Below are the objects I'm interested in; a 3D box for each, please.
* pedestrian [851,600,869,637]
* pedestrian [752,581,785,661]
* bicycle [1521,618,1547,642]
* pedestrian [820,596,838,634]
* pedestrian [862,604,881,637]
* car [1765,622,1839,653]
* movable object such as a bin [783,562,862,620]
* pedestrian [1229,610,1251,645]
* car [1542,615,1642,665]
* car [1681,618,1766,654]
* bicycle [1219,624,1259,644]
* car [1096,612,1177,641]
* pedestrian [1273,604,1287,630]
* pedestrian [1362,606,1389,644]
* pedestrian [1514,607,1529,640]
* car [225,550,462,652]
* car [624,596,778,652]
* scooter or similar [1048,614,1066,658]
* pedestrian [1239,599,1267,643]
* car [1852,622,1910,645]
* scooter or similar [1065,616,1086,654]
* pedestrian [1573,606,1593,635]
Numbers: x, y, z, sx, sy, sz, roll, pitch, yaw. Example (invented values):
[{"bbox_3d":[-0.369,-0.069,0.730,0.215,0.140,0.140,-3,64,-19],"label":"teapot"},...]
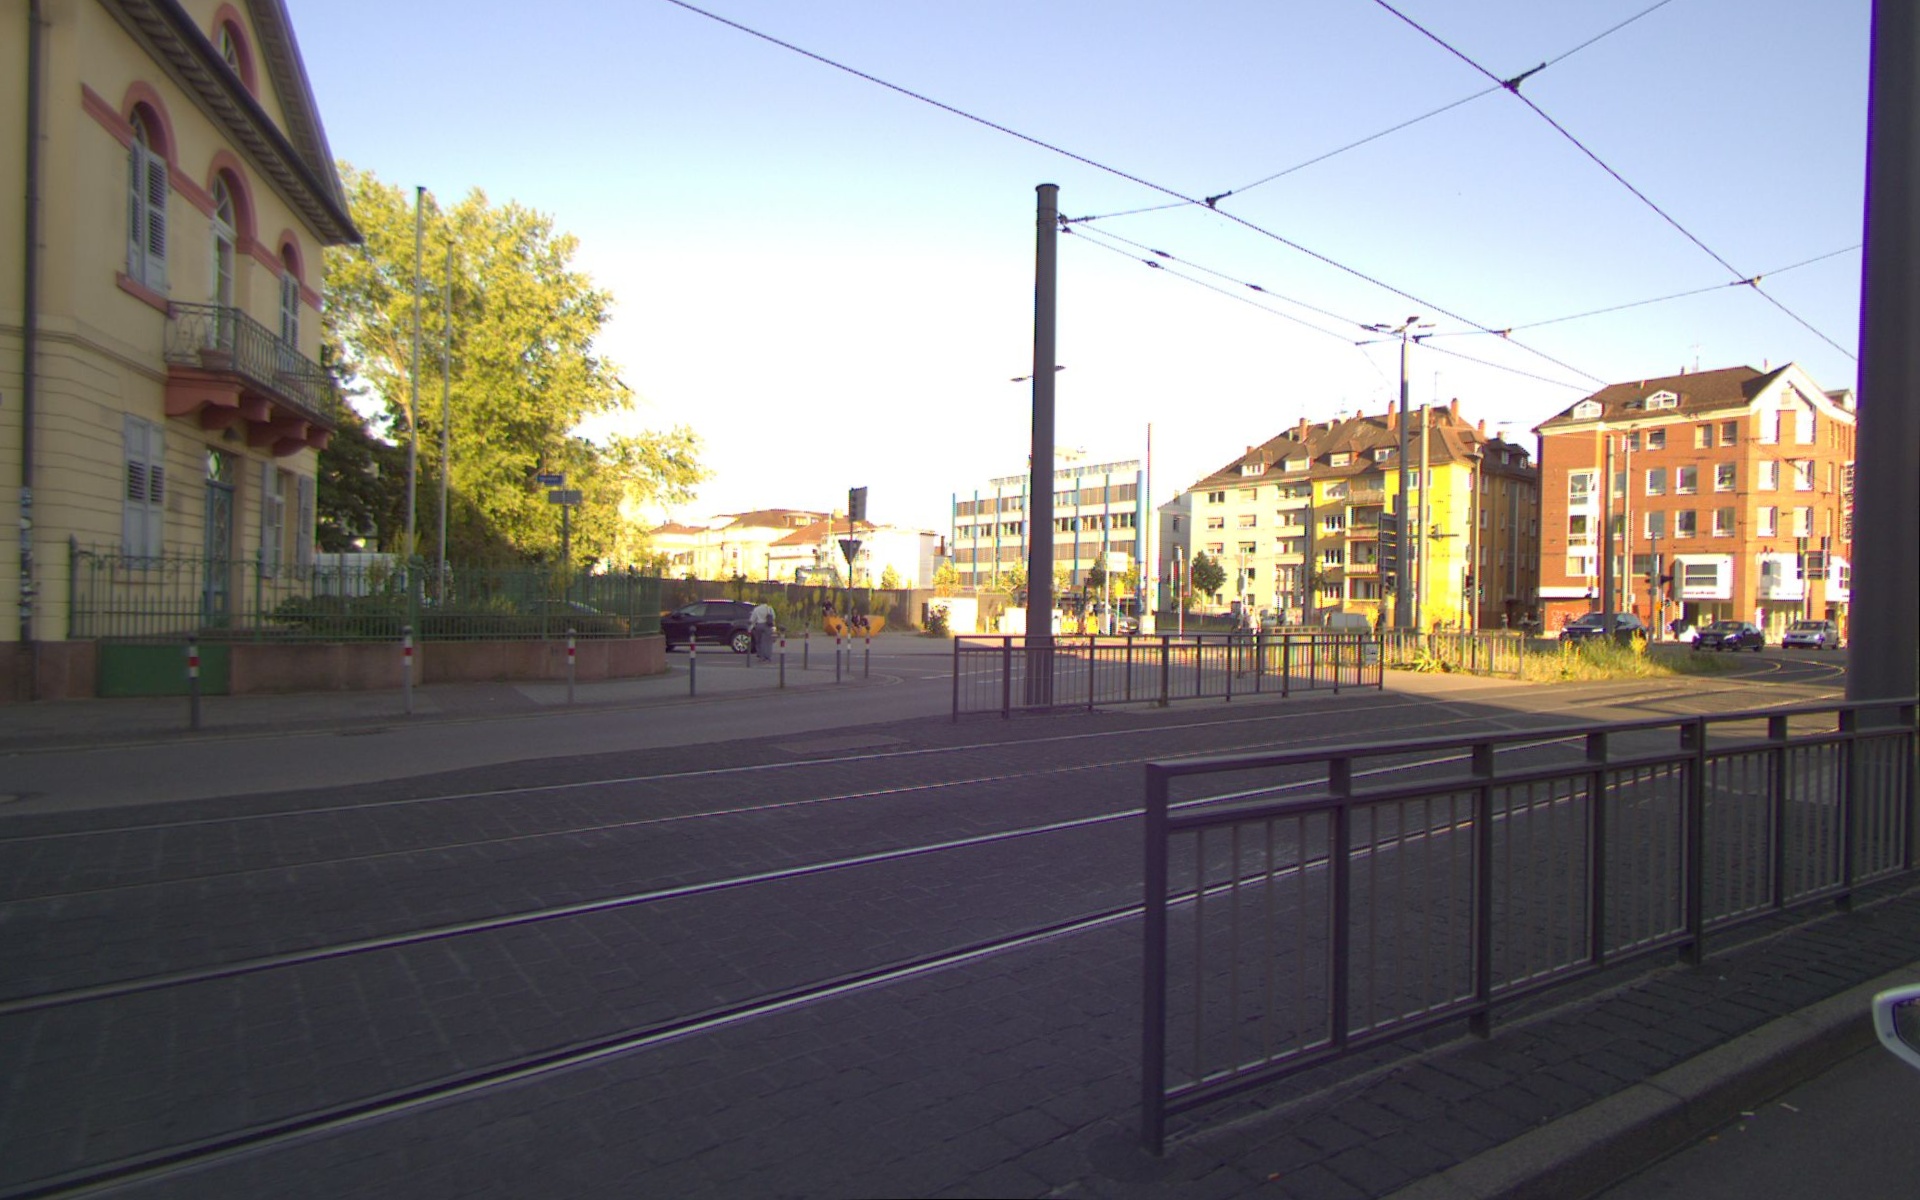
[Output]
[{"bbox_3d":[-4.577,0.831,45.860,0.596,1.681,0.529,1,0,-42],"label":"pedestrian"},{"bbox_3d":[-4.665,0.501,24.458,0.752,1.918,0.728,1,0,-11],"label":"pedestrian"},{"bbox_3d":[33.355,1.746,58.346,1.998,1.343,0.613,1,2,-39],"label":"bicycle"},{"bbox_3d":[-5.936,0.684,45.424,0.527,1.681,0.598,1,0,36],"label":"pedestrian"},{"bbox_3d":[-4.089,0.937,46.330,0.619,1.515,0.635,1,0,-35],"label":"pedestrian"},{"bbox_3d":[46.816,2.073,55.832,4.066,1.606,1.983,1,-1,-31],"label":"car"},{"bbox_3d":[-8.177,-0.506,59.793,4.279,3.272,1.990,1,0,-21],"label":"movable object such as a bin"},{"bbox_3d":[15.724,1.558,56.378,0.835,1.936,0.889,1,0,44],"label":"pedestrian"},{"bbox_3d":[25.914,1.602,41.141,4.768,1.926,1.979,1,-1,-38],"label":"car"},{"bbox_3d":[35.839,1.671,47.119,4.542,1.606,1.980,1,-1,-36],"label":"car"},{"bbox_3d":[15.658,1.909,56.346,1.983,1.074,0.889,1,0,45],"label":"bicycle"},{"bbox_3d":[10.789,1.584,61.619,4.488,1.639,1.995,1,0,33],"label":"car"},{"bbox_3d":[22.882,1.218,71.742,0.709,1.893,0.882,1,0,35],"label":"pedestrian"},{"bbox_3d":[21.877,1.293,52.840,1.082,1.970,1.021,1,0,36],"label":"pedestrian"},{"bbox_3d":[32.742,1.345,58.560,0.558,1.893,0.498,1,2,-40],"label":"pedestrian"},{"bbox_3d":[-17.294,0.042,28.386,5.319,2.665,2.098,1,0,-1],"label":"car"},{"bbox_3d":[-7.357,0.708,28.844,3.922,1.505,2.000,1,-2,-3],"label":"car"},{"bbox_3d":[3.342,1.229,34.596,0.507,1.465,1.256,1,0,2],"label":"scooter or similar"},{"bbox_3d":[12.906,0.932,44.243,0.870,1.893,0.973,1,0,35],"label":"pedestrian"},{"bbox_3d":[61.502,2.241,67.050,4.152,1.467,1.661,1,0,-30],"label":"car"},{"bbox_3d":[4.043,1.205,34.997,0.507,1.289,1.257,1,0,16],"label":"scooter or similar"},{"bbox_3d":[42.339,1.400,68.279,0.833,1.893,0.931,1,2,-44],"label":"pedestrian"}]
